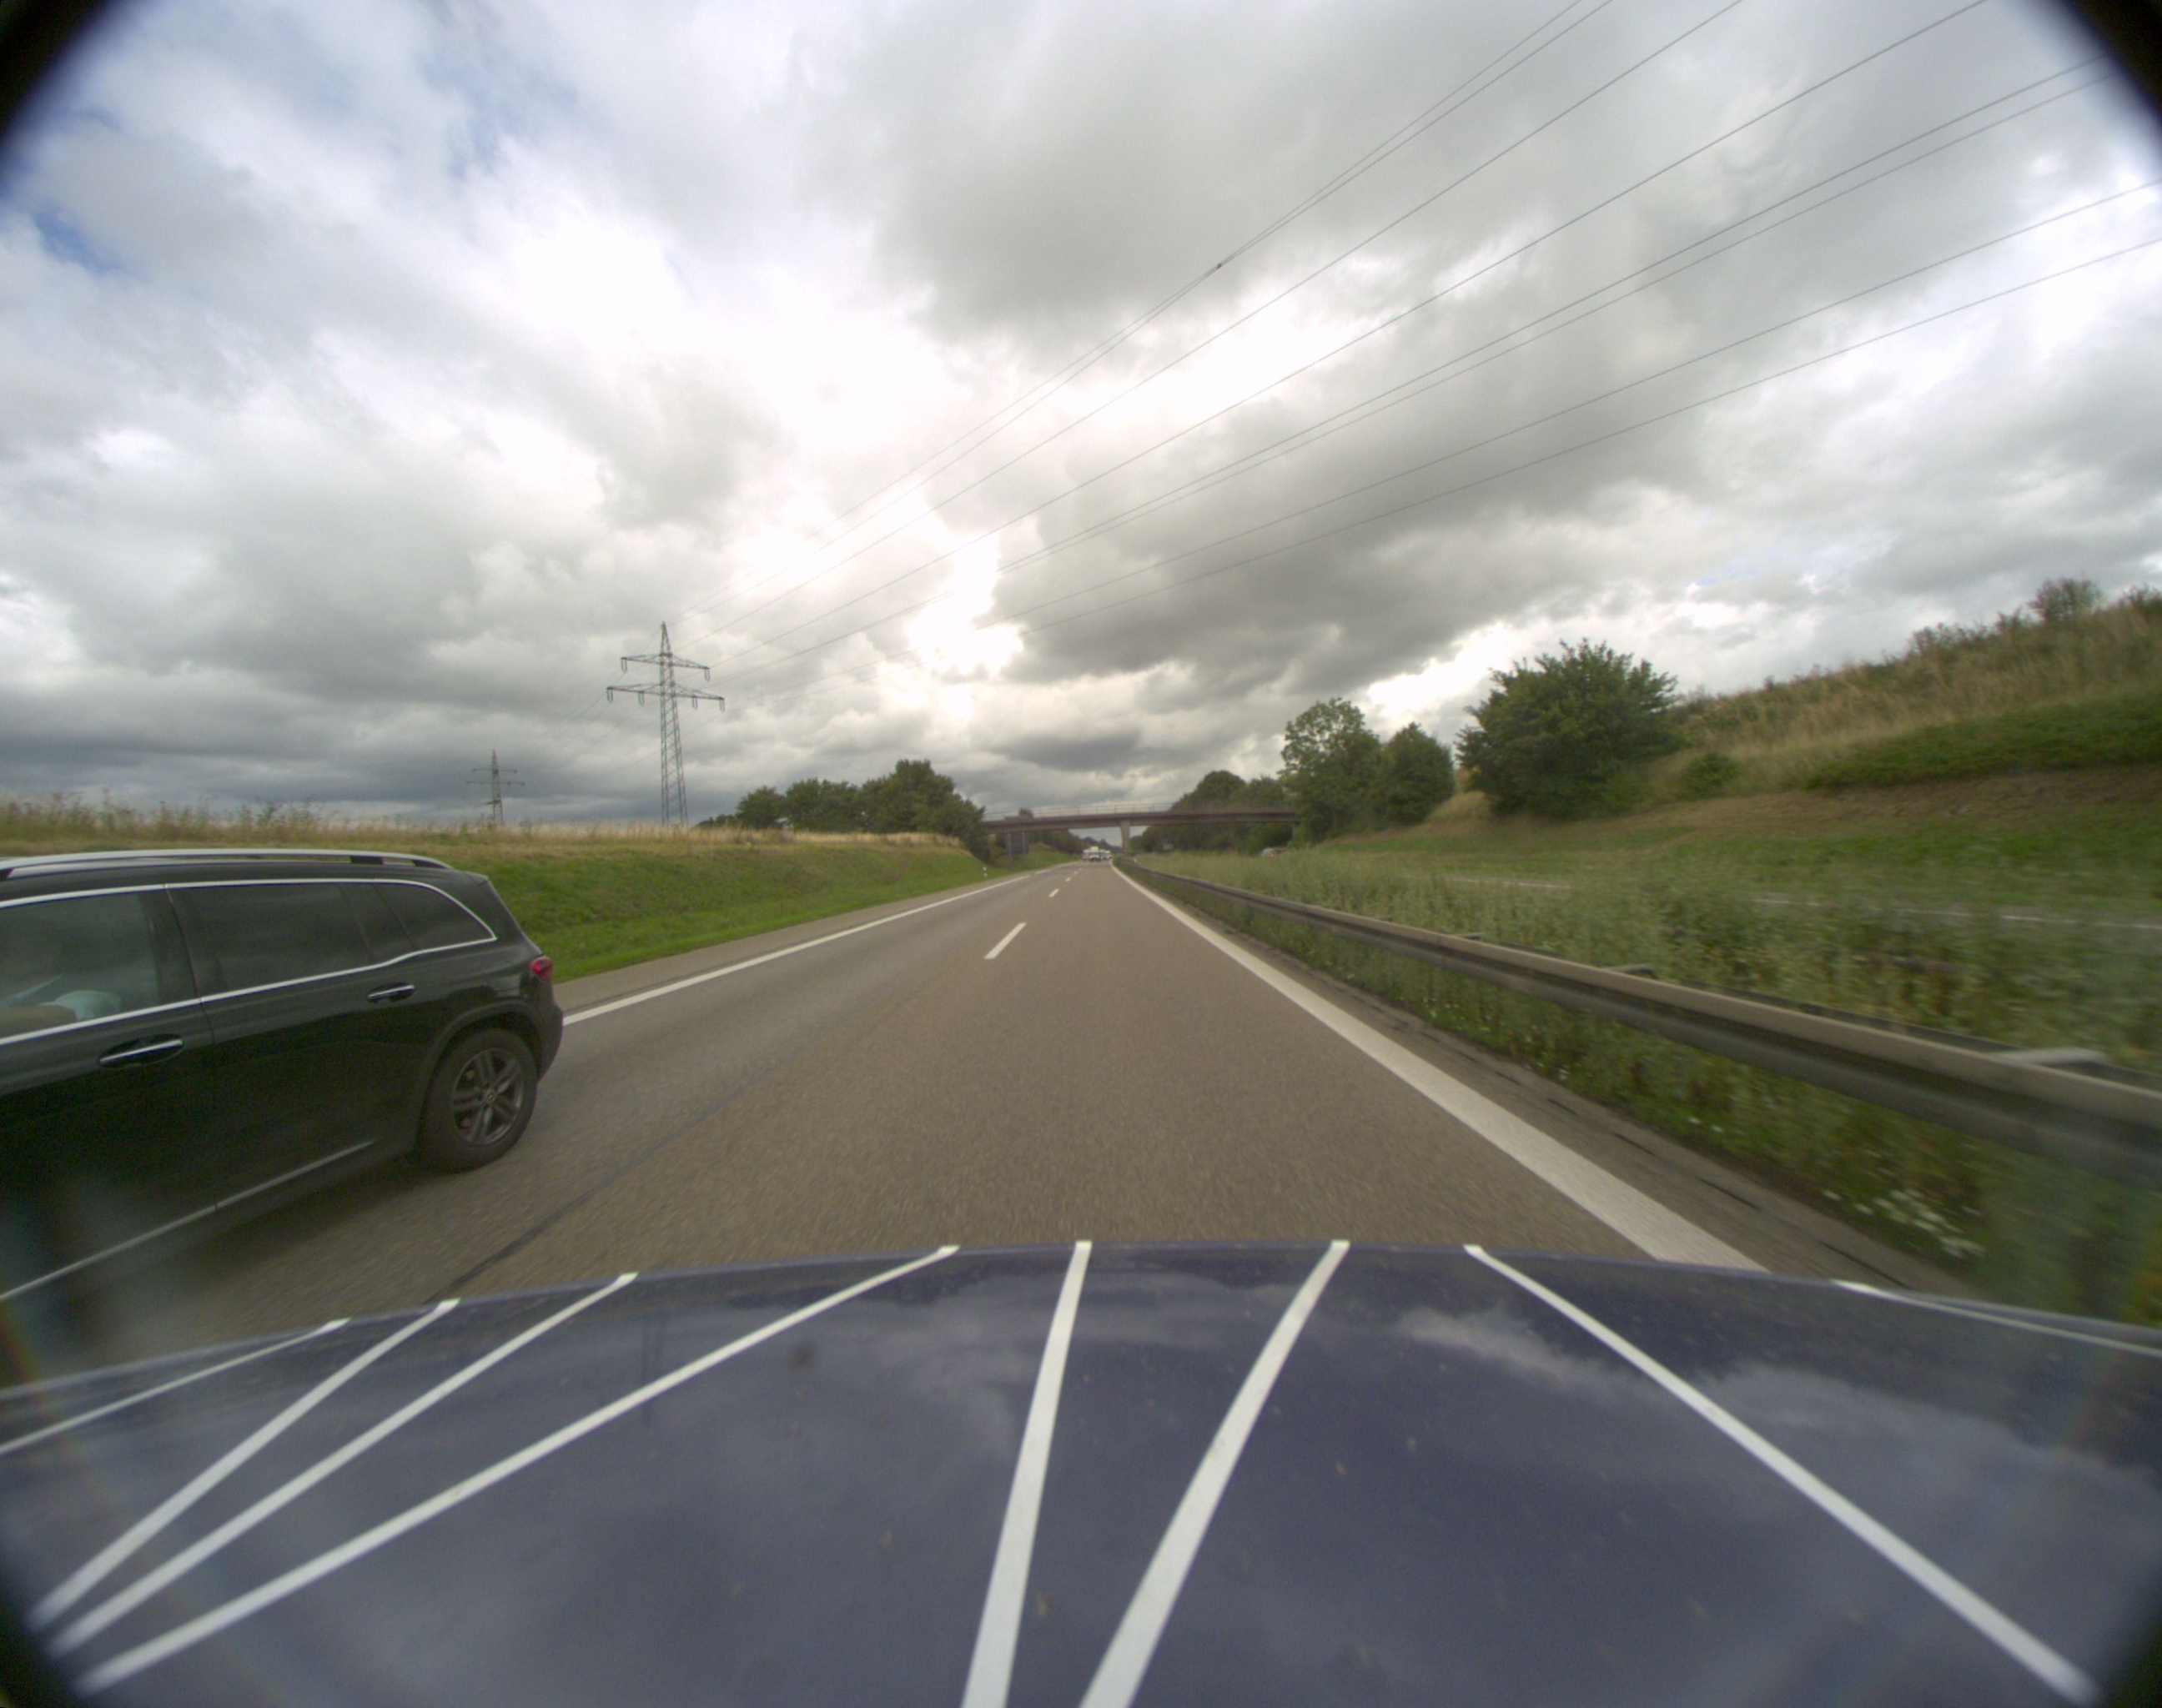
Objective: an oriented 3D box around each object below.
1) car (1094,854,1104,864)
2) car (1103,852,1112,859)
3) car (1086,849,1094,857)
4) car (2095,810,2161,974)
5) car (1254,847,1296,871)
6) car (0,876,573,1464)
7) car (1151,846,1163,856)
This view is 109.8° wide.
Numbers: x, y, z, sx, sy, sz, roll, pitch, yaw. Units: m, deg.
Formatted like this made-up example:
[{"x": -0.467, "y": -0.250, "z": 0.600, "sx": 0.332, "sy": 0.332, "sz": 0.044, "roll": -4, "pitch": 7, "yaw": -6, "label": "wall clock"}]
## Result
[{"x": 3.746, "y": 1.015, "z": 158.931, "sx": 1.999, "sy": 1.812, "sz": 4.341, "roll": -2, "pitch": 0, "yaw": -1, "label": "car"}, {"x": 6.544, "y": 0.360, "z": 185.831, "sx": 1.999, "sy": 1.695, "sz": 4.662, "roll": -4, "pitch": -1, "yaw": 0, "label": "car"}, {"x": 2.292, "y": -0.311, "z": 193.478, "sx": 1.833, "sy": 1.849, "sz": 5.789, "roll": -1, "pitch": 0, "yaw": 0, "label": "car"}, {"x": 11.417, "y": 0.354, "z": 4.987, "sx": 1.933, "sy": 1.566, "sz": 5.620, "roll": -2, "pitch": 1, "yaw": -2, "label": "car"}, {"x": 13.009, "y": 0.305, "z": 51.111, "sx": 1.751, "sy": 1.445, "sz": 3.999, "roll": -2, "pitch": 1, "yaw": 0, "label": "car"}, {"x": -4.052, "y": 0.982, "z": 2.398, "sx": 1.838, "sy": 1.600, "sz": 4.360, "roll": -2, "pitch": 1, "yaw": 1, "label": "car"}, {"x": 16.109, "y": -0.724, "z": 161.324, "sx": 1.998, "sy": 2.002, "sz": 4.000, "roll": -2, "pitch": 1, "yaw": 1, "label": "car"}]
